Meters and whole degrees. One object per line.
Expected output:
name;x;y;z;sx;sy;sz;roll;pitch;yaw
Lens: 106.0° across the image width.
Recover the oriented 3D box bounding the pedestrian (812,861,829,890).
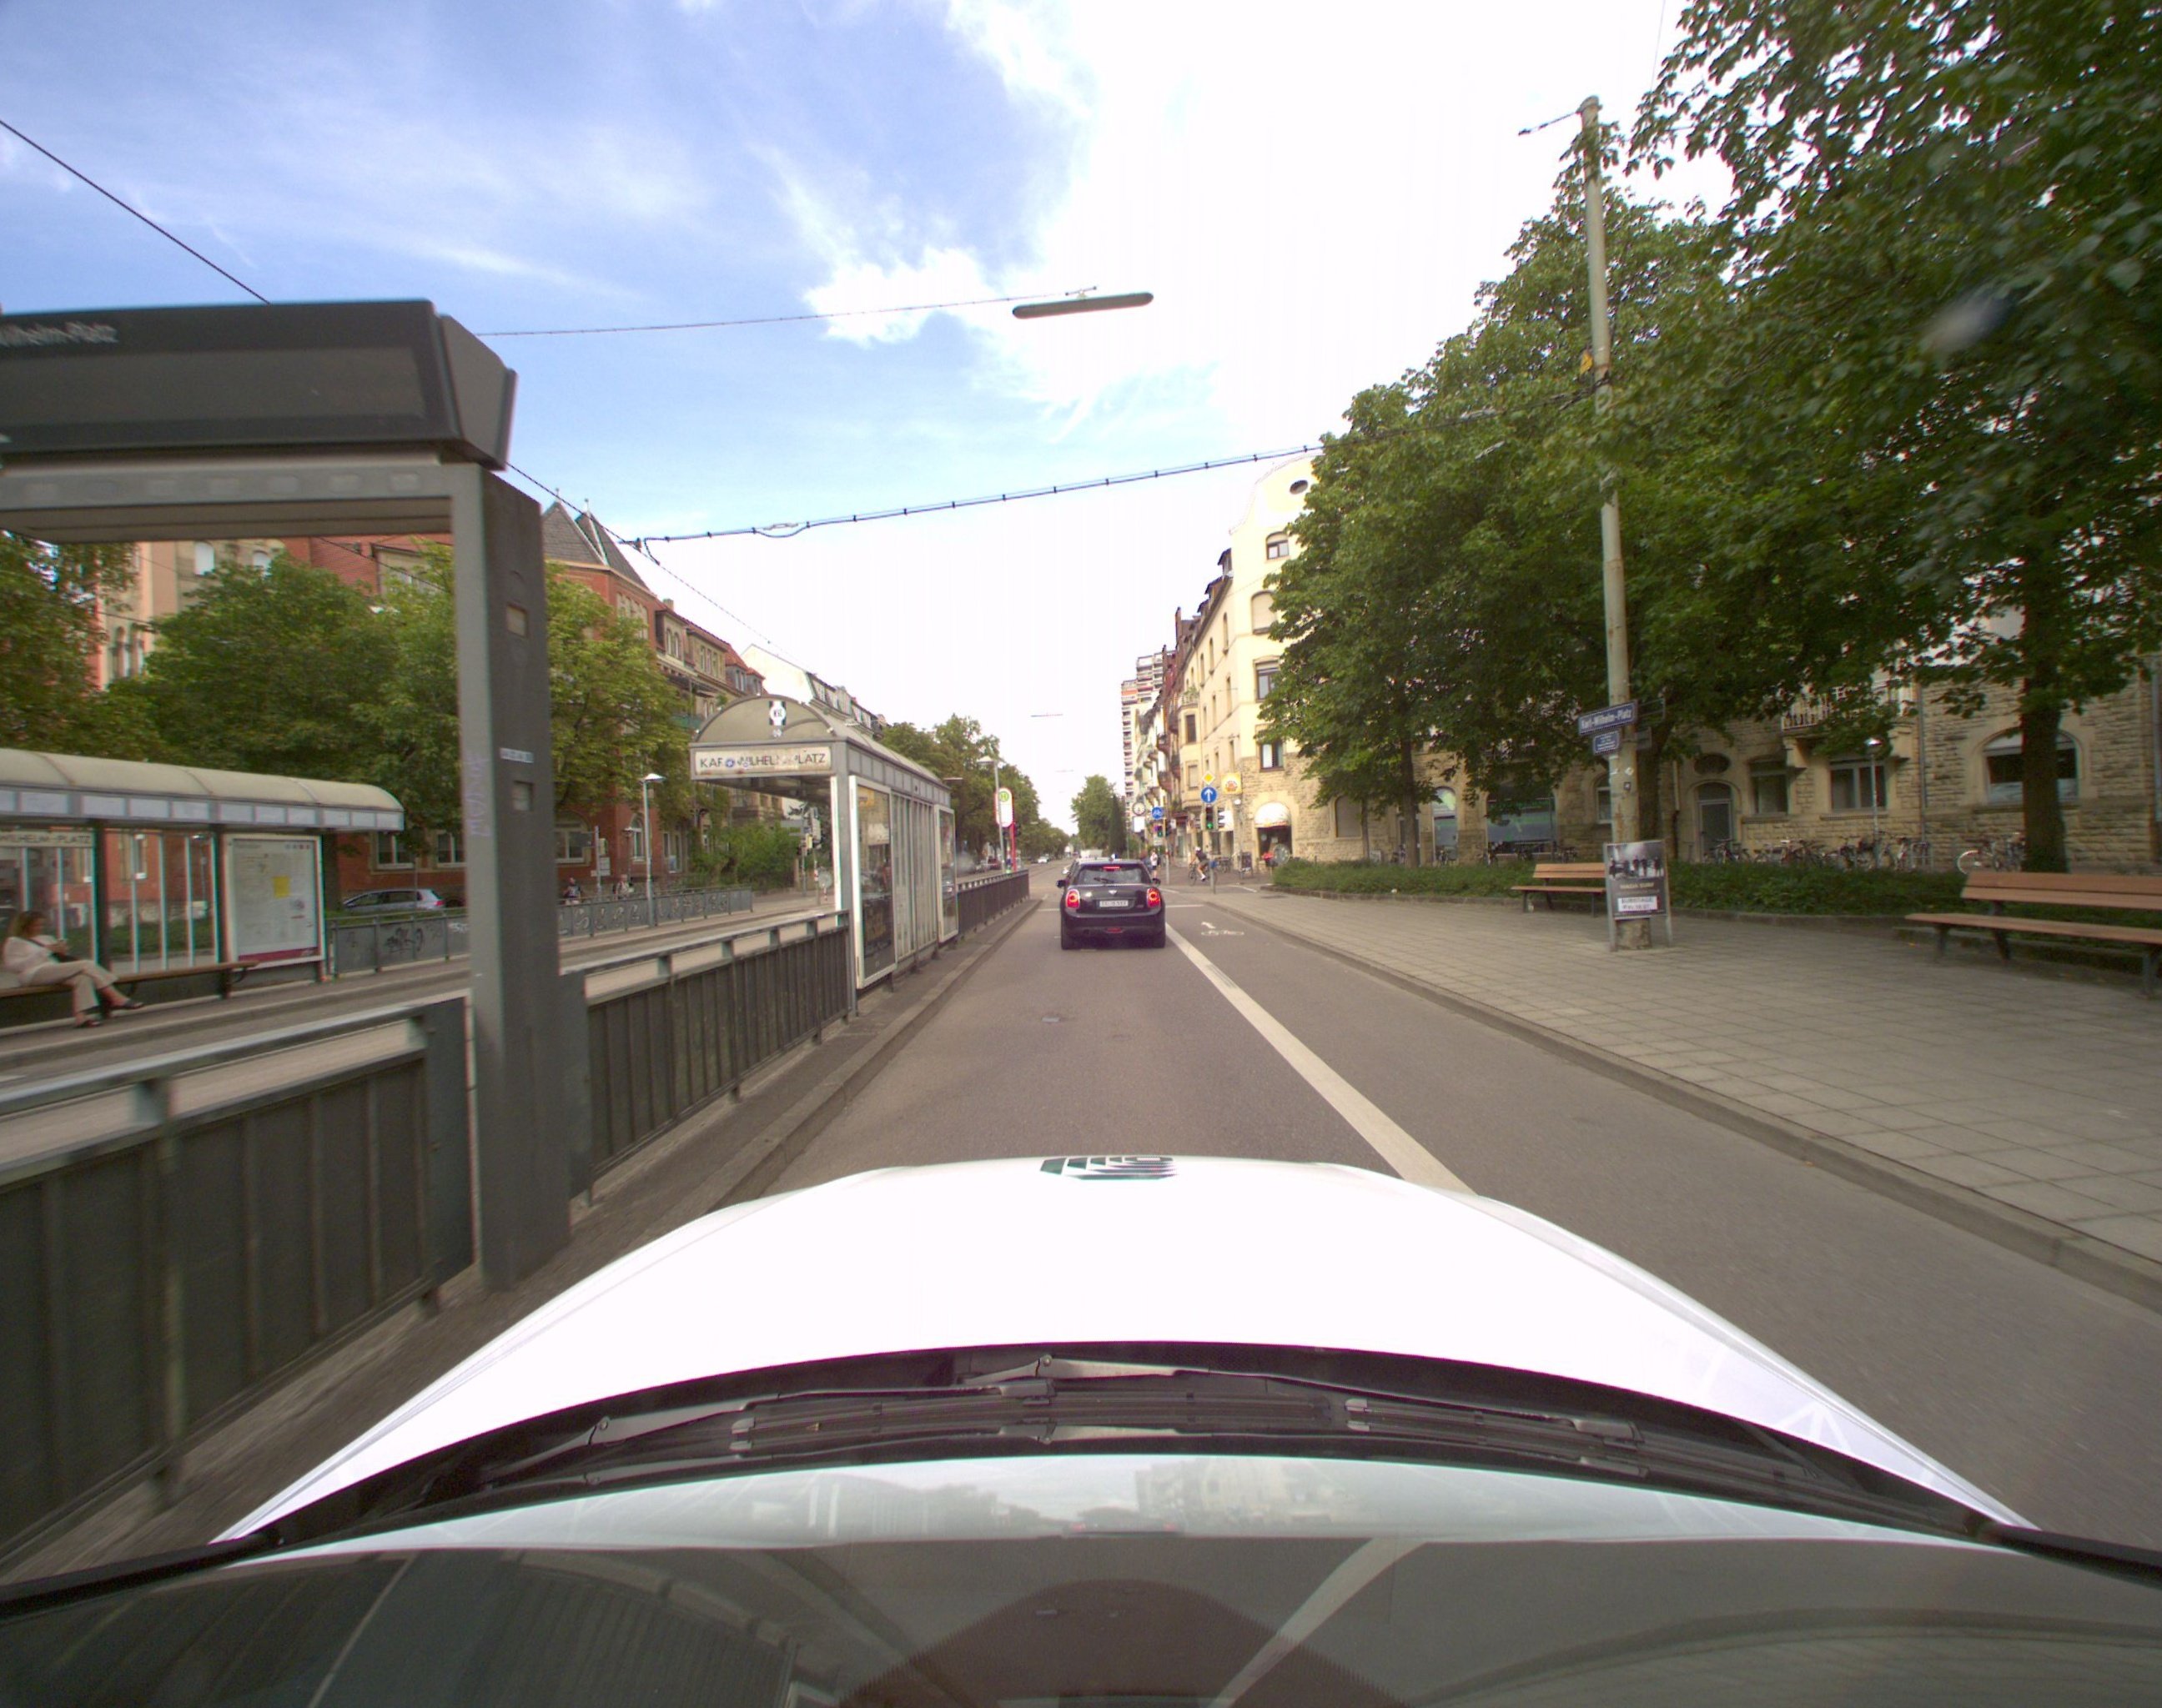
pedestrian;-16.551;1.369;51.788;0.728;1.783;0.835;-3;0;1

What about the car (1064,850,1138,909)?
car;0.528;0.688;23.990;1.921;1.510;3.999;-3;0;-1

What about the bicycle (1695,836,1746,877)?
bicycle;19.425;0.072;24.720;1.900;1.128;0.527;-4;0;-30

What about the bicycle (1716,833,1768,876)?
bicycle;19.672;0.008;24.233;1.900;1.127;0.527;-4;1;-30

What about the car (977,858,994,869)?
car;-12.897;1.270;109.866;1.761;1.395;3.999;-3;0;0

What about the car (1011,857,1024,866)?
car;-12.286;1.455;157.470;1.986;1.552;4.001;-3;0;1

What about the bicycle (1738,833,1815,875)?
bicycle;20.072;-0.001;23.521;1.886;1.128;0.561;-3;0;-8

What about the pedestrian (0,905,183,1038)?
pedestrian;-11.110;1.273;9.071;1.057;1.293;0.984;-3;0;-5

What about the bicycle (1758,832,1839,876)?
bicycle;20.203;-0.008;22.934;1.886;1.128;0.597;-3;0;-8

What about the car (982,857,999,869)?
car;-13.135;1.315;118.266;1.986;1.552;4.001;-3;0;1

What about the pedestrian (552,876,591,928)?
pedestrian;-17.666;1.645;28.254;0.831;1.703;0.731;-3;0;-5

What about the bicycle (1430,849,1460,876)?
bicycle;14.061;0.318;31.412;0.526;0.972;1.659;-3;0;43

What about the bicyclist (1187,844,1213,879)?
bicyclist;5.213;0.344;35.651;0.619;1.472;0.905;-3;0;-34

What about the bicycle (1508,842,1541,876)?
bicycle;15.895;0.169;29.168;0.526;1.128;1.905;-3;0;42

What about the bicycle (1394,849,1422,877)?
bicycle;13.110;0.342;32.639;0.444;1.055;1.659;-3;0;42

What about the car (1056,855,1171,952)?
car;0.546;0.759;14.484;1.745;1.441;4.001;-1;0;1

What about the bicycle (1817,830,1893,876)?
bicycle;20.783;-0.033;21.868;1.892;1.128;0.579;-3;0;-17

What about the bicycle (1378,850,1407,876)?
bicycle;12.800;0.372;33.407;0.595;0.972;1.683;-3;0;38

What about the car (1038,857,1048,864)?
car;-7.642;1.312;165.857;1.761;1.395;3.999;-3;0;0

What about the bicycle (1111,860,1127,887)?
bicycle;1.768;0.886;37.937;0.681;1.170;1.698;-3;0;3

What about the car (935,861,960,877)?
car;-13.005;1.436;79.516;1.761;1.395;3.999;-3;0;0

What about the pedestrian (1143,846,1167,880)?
pedestrian;3.943;0.480;43.444;0.840;1.674;0.724;-6;0;-43

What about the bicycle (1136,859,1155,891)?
bicycle;2.544;0.816;32.302;0.596;1.170;1.697;-3;0;1

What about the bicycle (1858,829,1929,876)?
bicycle;21.073;-0.045;21.108;1.895;1.128;0.590;-3;0;-22

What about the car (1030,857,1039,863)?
car;-11.714;1.522;204.165;1.986;1.552;4.001;-3;0;1

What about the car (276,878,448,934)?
car;-25.230;1.761;28.754;4.372;1.578;2.185;-3;0;-41

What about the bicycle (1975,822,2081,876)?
bicycle;21.765;-0.114;18.721;1.883;1.128;0.532;-3;0;-3

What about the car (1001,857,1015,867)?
car;-12.635;1.398;141.236;1.986;1.552;4.001;-3;0;1

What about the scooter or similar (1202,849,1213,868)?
scooter or similar;8.132;0.303;52.345;0.507;1.188;1.262;-3;0;1

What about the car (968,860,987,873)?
car;-12.617;1.520;99.215;1.761;1.395;3.999;-3;0;0

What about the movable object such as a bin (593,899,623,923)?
movable object such as a bin;-17.462;2.096;30.050;0.727;0.799;0.621;-3;0;-5

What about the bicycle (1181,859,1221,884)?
bicycle;5.249;0.770;35.633;0.619;1.076;1.802;-3;0;-34

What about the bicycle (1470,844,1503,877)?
bicycle;14.974;0.228;30.071;0.526;1.128;1.905;-3;0;42

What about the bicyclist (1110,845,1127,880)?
bicyclist;1.743;0.383;38.004;0.681;1.564;0.999;-3;0;3

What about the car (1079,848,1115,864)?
car;2.487;0.283;123.782;5.066;2.272;2.369;-3;0;-40

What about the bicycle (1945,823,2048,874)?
bicycle;21.692;-0.130;19.307;1.883;1.128;0.532;-3;0;-3

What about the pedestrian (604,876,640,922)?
pedestrian;-17.086;1.677;30.336;0.867;1.632;0.743;-3;0;-5

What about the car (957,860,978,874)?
car;-12.747;1.421;91.542;1.761;1.395;3.999;-3;0;0

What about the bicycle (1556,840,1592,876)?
bicycle;16.919;0.132;27.944;0.659;1.128;1.905;-3;0;43

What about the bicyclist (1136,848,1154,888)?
bicyclist;2.523;0.548;32.299;0.592;1.550;1.014;-3;0;1

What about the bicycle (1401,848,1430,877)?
bicycle;13.259;0.335;32.256;0.444;1.055;1.659;-3;0;42
